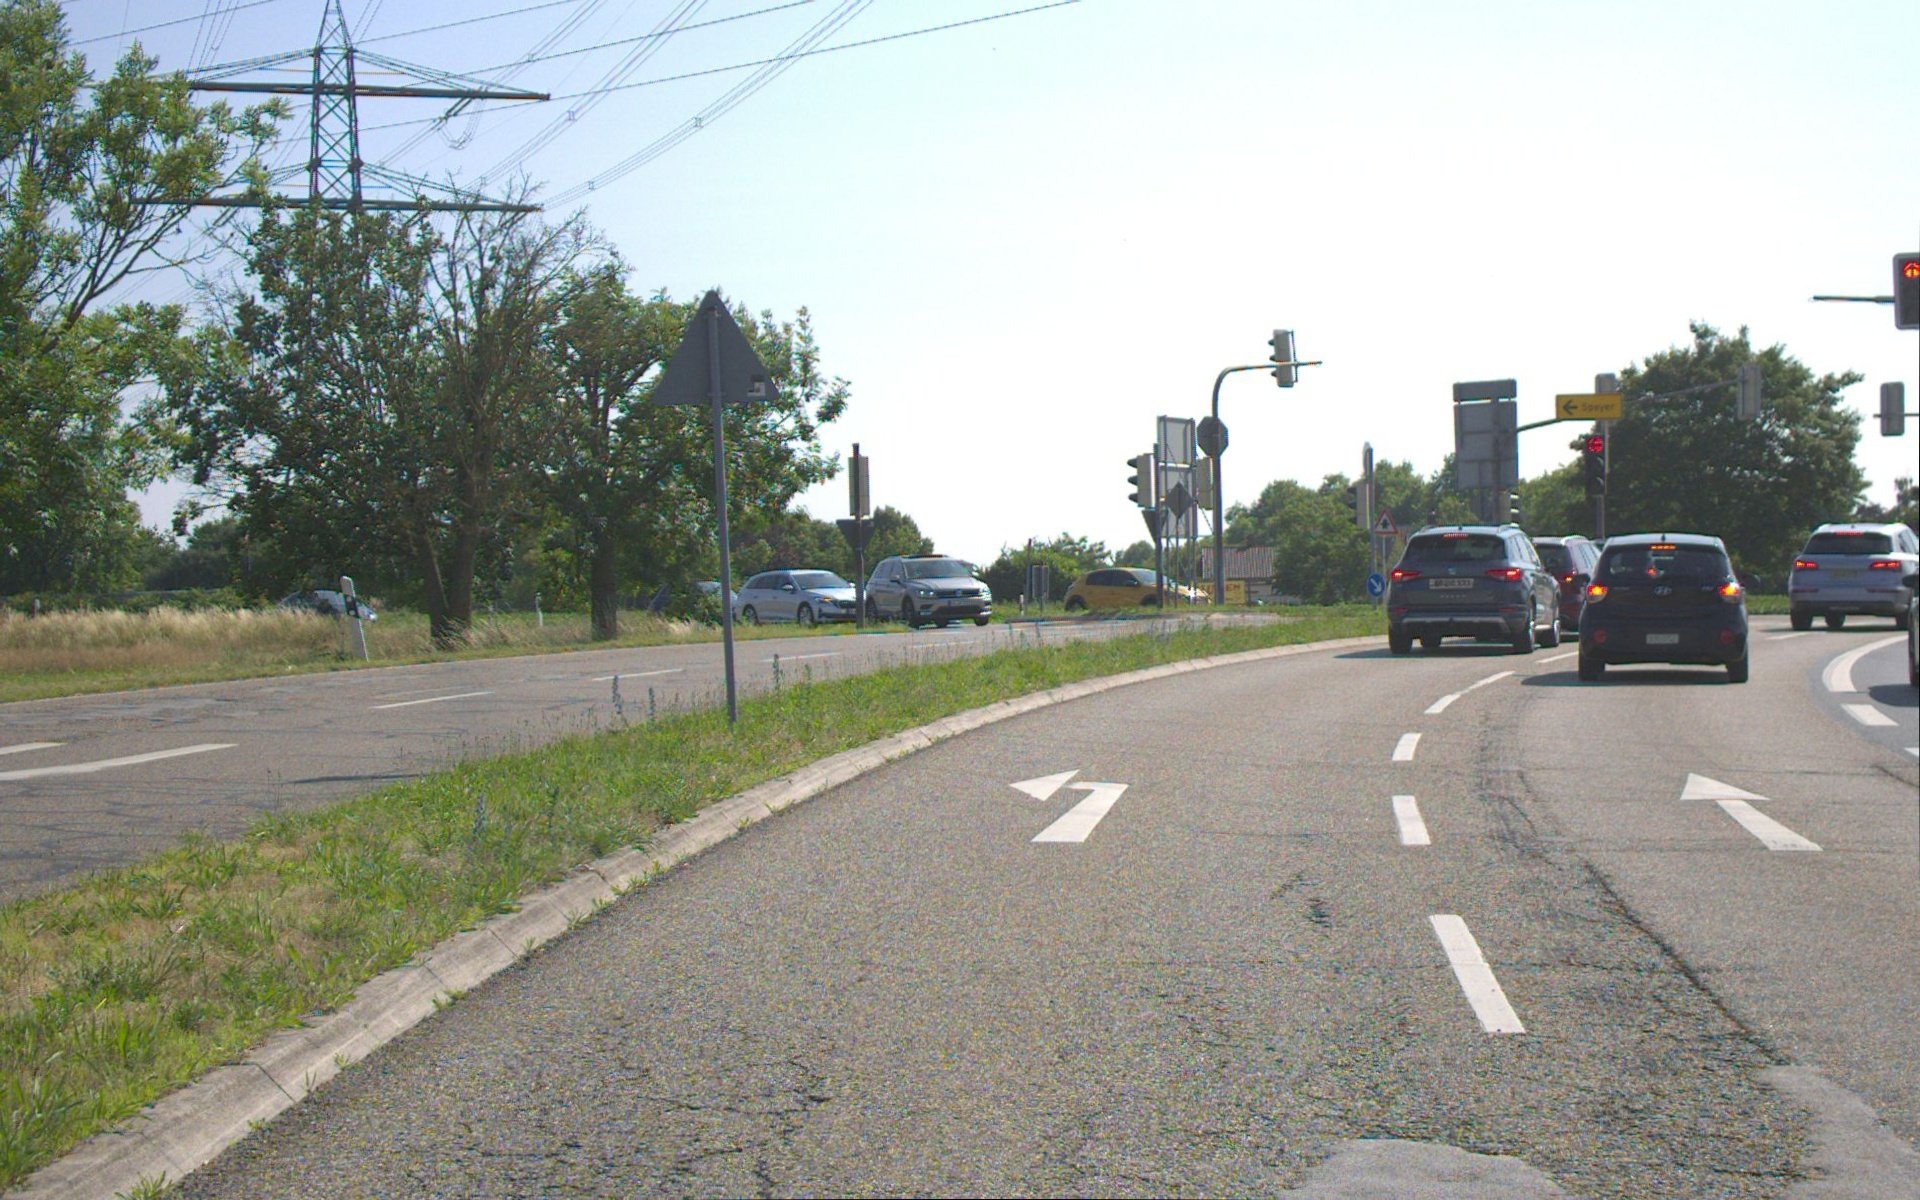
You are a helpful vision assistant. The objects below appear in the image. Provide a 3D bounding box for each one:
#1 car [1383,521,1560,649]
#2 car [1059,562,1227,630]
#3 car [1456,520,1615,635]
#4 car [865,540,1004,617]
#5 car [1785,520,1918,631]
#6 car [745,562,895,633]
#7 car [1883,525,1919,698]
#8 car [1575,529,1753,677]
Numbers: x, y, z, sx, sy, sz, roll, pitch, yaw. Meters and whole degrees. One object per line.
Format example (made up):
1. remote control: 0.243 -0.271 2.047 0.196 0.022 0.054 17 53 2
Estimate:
1. car: 6.564 -0.217 43.857 1.743 1.563 3.621 0 1 16
2. car: 4.582 -0.098 86.473 3.997 1.645 1.815 0 0 45
3. car: 8.270 -0.324 49.181 1.743 1.563 3.621 1 1 17
4. car: -0.596 -0.472 76.537 1.814 1.645 4.001 -1 0 -20
5. car: 14.061 -0.396 54.124 1.634 1.671 3.746 1 1 21
6. car: -3.388 -0.065 82.682 1.814 1.645 4.000 -1 0 -33
7. car: 9.596 0.056 31.632 1.773 1.512 4.098 -1 1 10
8. car: 7.272 0.001 35.337 1.634 1.443 3.293 0 1 14
